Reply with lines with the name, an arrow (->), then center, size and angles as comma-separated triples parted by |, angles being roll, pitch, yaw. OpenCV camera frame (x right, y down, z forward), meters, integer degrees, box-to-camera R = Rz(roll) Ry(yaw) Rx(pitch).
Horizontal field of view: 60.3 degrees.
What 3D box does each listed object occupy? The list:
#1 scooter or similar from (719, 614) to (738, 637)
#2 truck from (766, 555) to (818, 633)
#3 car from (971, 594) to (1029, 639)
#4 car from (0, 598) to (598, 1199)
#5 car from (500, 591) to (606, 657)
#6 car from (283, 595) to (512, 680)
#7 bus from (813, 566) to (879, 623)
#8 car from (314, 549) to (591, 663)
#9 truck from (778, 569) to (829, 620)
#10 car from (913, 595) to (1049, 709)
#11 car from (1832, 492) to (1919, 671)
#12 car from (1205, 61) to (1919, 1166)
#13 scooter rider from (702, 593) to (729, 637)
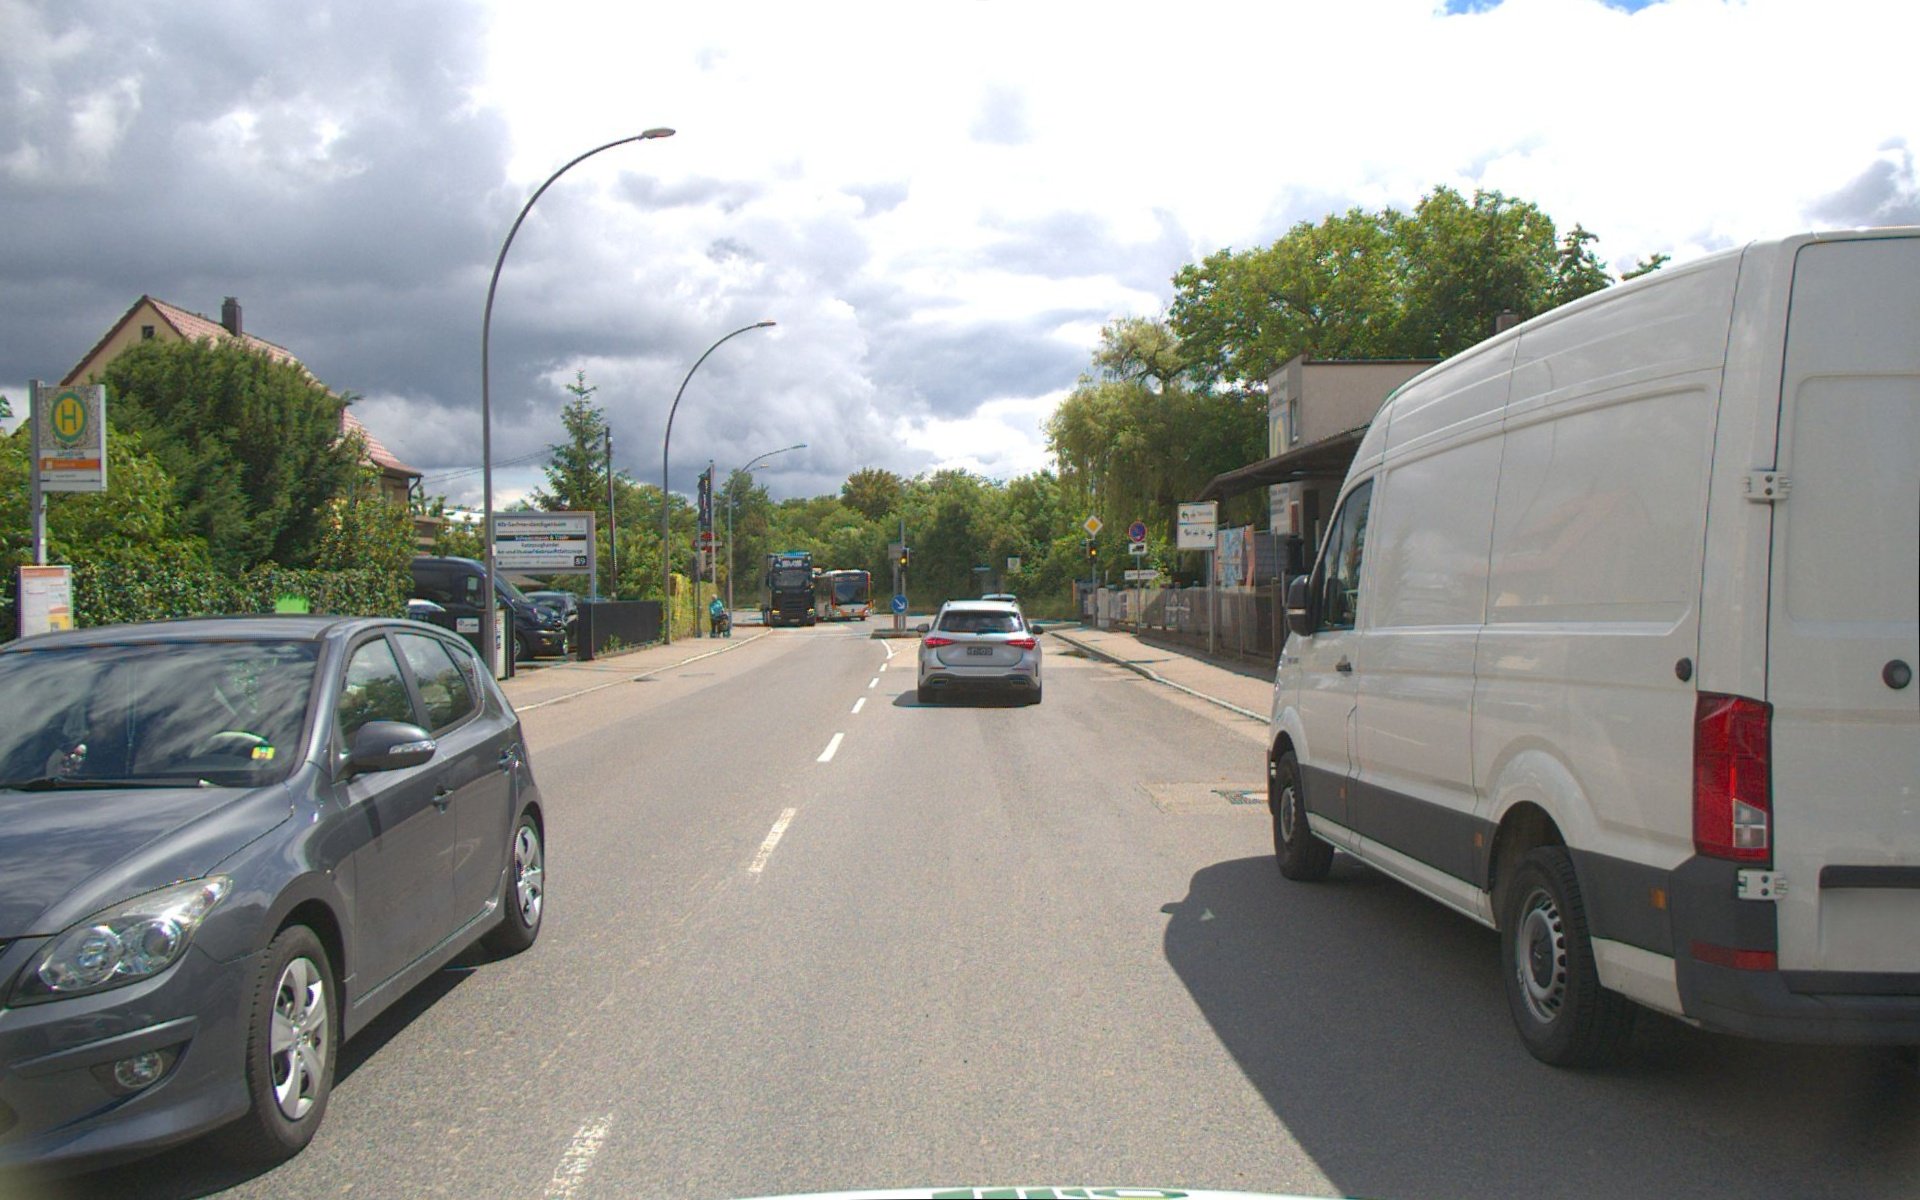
scooter or similar -> -8.538, 0.947, 61.004 | 0.599, 0.846, 0.659 | 1, 0, -1
truck -> -9.598, -0.307, 93.984 | 2.384, 4.203, 9.131 | 1, 0, -9
car -> 1.405, 0.558, 59.124 | 1.847, 1.535, 3.999 | -1, 0, -2
car -> -2.595, 0.799, 5.599 | 1.862, 1.544, 4.317 | -2, 0, -2
car -> -10.815, 0.604, 44.237 | 1.991, 1.623, 4.281 | -1, 0, -4
car -> -11.004, 0.682, 32.837 | 1.951, 1.512, 5.345 | -1, 0, 10
bus -> -7.462, -0.324, 106.385 | 2.728, 3.323, 12.091 | -2, 0, -11
car -> -12.245, 0.141, 40.247 | 5.914, 2.540, 2.477 | -1, 0, -1
truck -> -11.875, -0.398, 124.816 | 2.789, 3.602, 9.696 | -1, 0, -11
car -> 0.238, 0.703, 24.714 | 1.847, 1.535, 3.999 | -1, 0, -2
car -> 11.402, -0.208, 17.263 | 1.953, 1.943, 4.852 | -1, 1, -1
car -> 2.839, -0.008, 7.487 | 2.170, 2.736, 6.655 | -2, 0, -2
scooter rider -> -9.084, 0.548, 61.430 | 0.860, 1.617, 0.796 | -1, 0, -1
